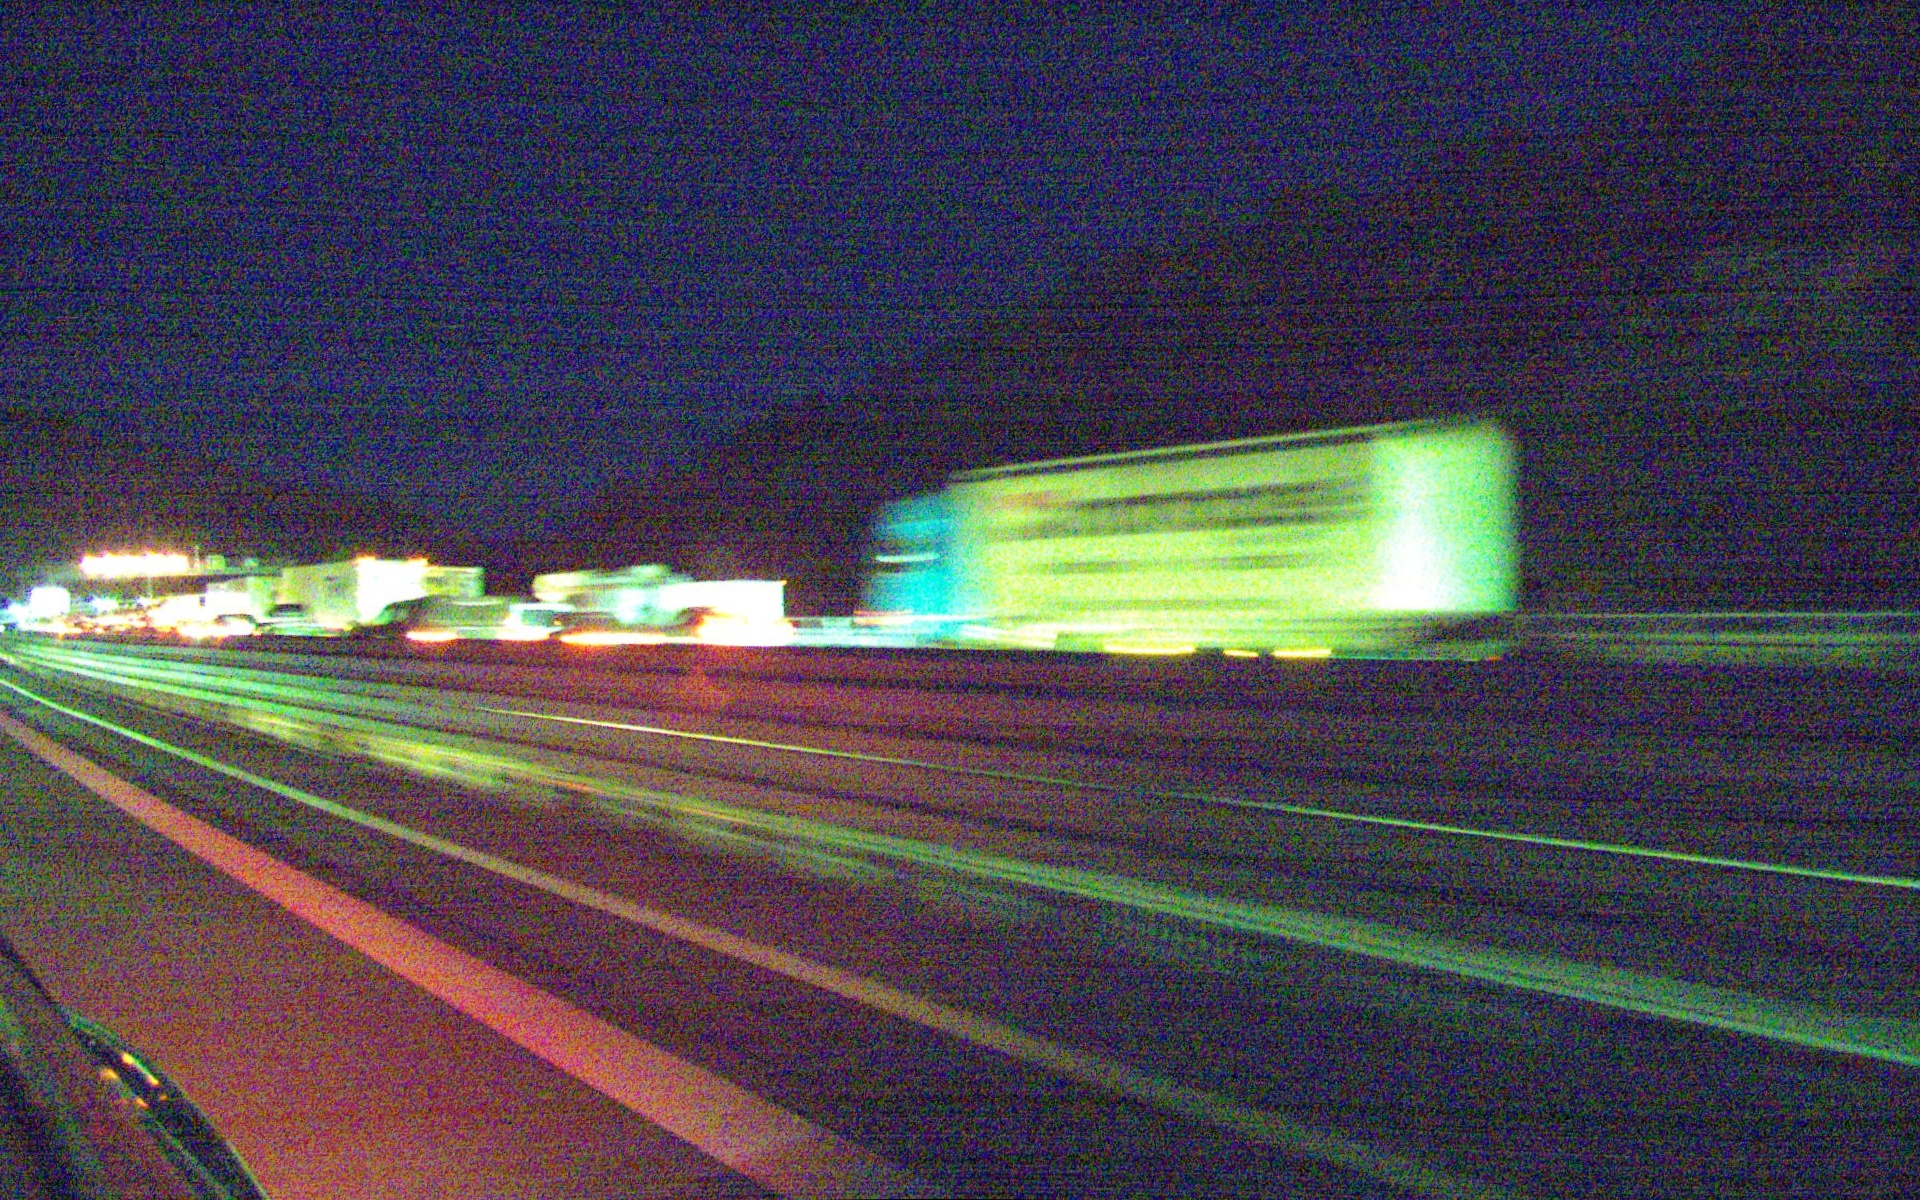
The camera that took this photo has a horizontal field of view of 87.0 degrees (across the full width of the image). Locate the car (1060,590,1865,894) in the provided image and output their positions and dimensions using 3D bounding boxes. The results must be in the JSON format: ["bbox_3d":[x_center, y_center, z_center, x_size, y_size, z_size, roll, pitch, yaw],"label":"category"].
[{"bbox_3d":[3.155,0.719,7.082,4.647,1.454,1.893,-1,-1,41],"label":"car"}]

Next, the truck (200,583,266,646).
[{"bbox_3d":[-51.092,1.003,71.039,2.832,4.242,6.110,0,-1,-45],"label":"truck"}]

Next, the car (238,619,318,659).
[{"bbox_3d":[-28.223,1.545,41.803,1.882,1.503,4.871,0,0,-45],"label":"car"}]

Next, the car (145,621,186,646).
[{"bbox_3d":[-51.951,2.141,66.145,1.880,1.503,4.875,0,0,-40],"label":"car"}]

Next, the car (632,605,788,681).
[{"bbox_3d":[-6.639,1.076,26.605,4.320,1.824,1.972,-1,-1,43],"label":"car"}]

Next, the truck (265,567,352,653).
[{"bbox_3d":[-34.729,0.500,53.869,2.586,4.301,5.961,-3,1,-45],"label":"truck"}]

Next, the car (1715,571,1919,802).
[{"bbox_3d":[8.778,0.640,7.700,4.745,1.749,1.927,-1,-1,41],"label":"car"}]

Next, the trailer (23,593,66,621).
[{"bbox_3d":[-143.536,0.952,158.792,2.795,4.004,15.806,-2,2,-34],"label":"trailer"}]

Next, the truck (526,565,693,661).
[{"bbox_3d":[-13.233,0.512,37.767,7.912,3.243,2.467,-2,-1,43],"label":"truck"}]

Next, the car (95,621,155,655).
[{"bbox_3d":[-41.318,1.839,50.029,1.882,1.503,4.871,0,0,-44],"label":"car"}]

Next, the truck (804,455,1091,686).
[{"bbox_3d":[-0.302,-0.427,19.829,4.924,3.946,2.802,-2,-2,36],"label":"truck"}]

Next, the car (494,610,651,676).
[{"bbox_3d":[-8.869,0.936,23.042,3.996,1.360,1.612,-1,-1,40],"label":"car"}]

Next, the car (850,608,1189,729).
[{"bbox_3d":[0.726,0.880,14.530,4.647,1.454,1.927,-1,-1,41],"label":"car"}]

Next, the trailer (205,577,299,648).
[{"bbox_3d":[-46.365,0.893,65.988,2.842,4.216,14.534,0,-1,-44],"label":"trailer"}]

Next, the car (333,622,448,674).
[{"bbox_3d":[-18.472,1.484,32.715,4.868,1.503,1.883,-1,0,43],"label":"car"}]

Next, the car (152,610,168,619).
[{"bbox_3d":[-145.158,2.608,183.644,1.809,1.462,4.517,0,-1,-33],"label":"car"}]

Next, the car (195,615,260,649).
[{"bbox_3d":[-35.111,1.514,48.450,1.881,1.503,4.872,0,-1,-44],"label":"car"}]

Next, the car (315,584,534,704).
[{"bbox_3d":[-10.157,0.782,18.934,5.603,1.937,1.855,-2,-1,43],"label":"car"}]

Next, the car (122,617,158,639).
[{"bbox_3d":[-59.397,2.027,73.280,1.880,1.503,4.945,0,0,-40],"label":"car"}]

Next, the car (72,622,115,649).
[{"bbox_3d":[-51.137,2.065,59.744,1.880,1.503,4.875,0,0,-40],"label":"car"}]

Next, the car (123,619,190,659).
[{"bbox_3d":[-33.071,1.560,41.608,1.607,1.503,4.870,0,-1,-45],"label":"car"}]

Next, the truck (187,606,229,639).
[{"bbox_3d":[-59.694,1.765,80.279,5.053,2.477,1.971,-1,-1,45],"label":"truck"}]

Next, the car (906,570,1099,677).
[{"bbox_3d":[1.000,0.574,25.128,4.507,2.418,1.974,-1,-1,39],"label":"car"}]

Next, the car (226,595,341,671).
[{"bbox_3d":[-19.064,0.863,28.423,1.854,1.937,4.871,0,0,-44],"label":"car"}]

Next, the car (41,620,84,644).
[{"bbox_3d":[-61.126,2.137,68.972,1.879,1.503,4.877,0,0,-38],"label":"car"}]

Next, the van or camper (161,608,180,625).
[{"bbox_3d":[-130.634,2.750,167.474,2.225,2.614,6.702,1,-1,-36],"label":"van or camper"}]

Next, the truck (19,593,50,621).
[{"bbox_3d":[-138.980,1.068,152.026,2.854,4.001,4.011,-2,2,-34],"label":"truck"}]

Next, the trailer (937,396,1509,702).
[{"bbox_3d":[3.935,-0.538,16.740,8.721,3.947,2.795,-2,-2,36],"label":"trailer"}]

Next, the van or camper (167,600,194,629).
[{"bbox_3d":[-85.390,1.600,110.828,2.194,3.026,7.137,0,-1,-39],"label":"van or camper"}]

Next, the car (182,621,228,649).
[{"bbox_3d":[-44.761,2.016,59.961,1.880,1.503,5.268,0,0,-40],"label":"car"}]

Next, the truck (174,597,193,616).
[{"bbox_3d":[-161.267,1.371,210.249,2.619,3.618,8.573,2,0,-34],"label":"truck"}]

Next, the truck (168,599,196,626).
[{"bbox_3d":[-97.477,1.522,126.690,2.346,3.285,7.736,1,-1,-40],"label":"truck"}]

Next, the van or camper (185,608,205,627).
[{"bbox_3d":[-124.474,2.839,164.704,2.412,2.781,6.505,0,1,-35],"label":"van or camper"}]

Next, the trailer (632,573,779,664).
[{"bbox_3d":[-8.456,0.616,33.393,4.991,2.765,2.338,-2,-1,43],"label":"trailer"}]

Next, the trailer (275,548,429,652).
[{"bbox_3d":[-30.129,0.114,49.631,14.527,4.498,2.807,-1,-2,44],"label":"trailer"}]
